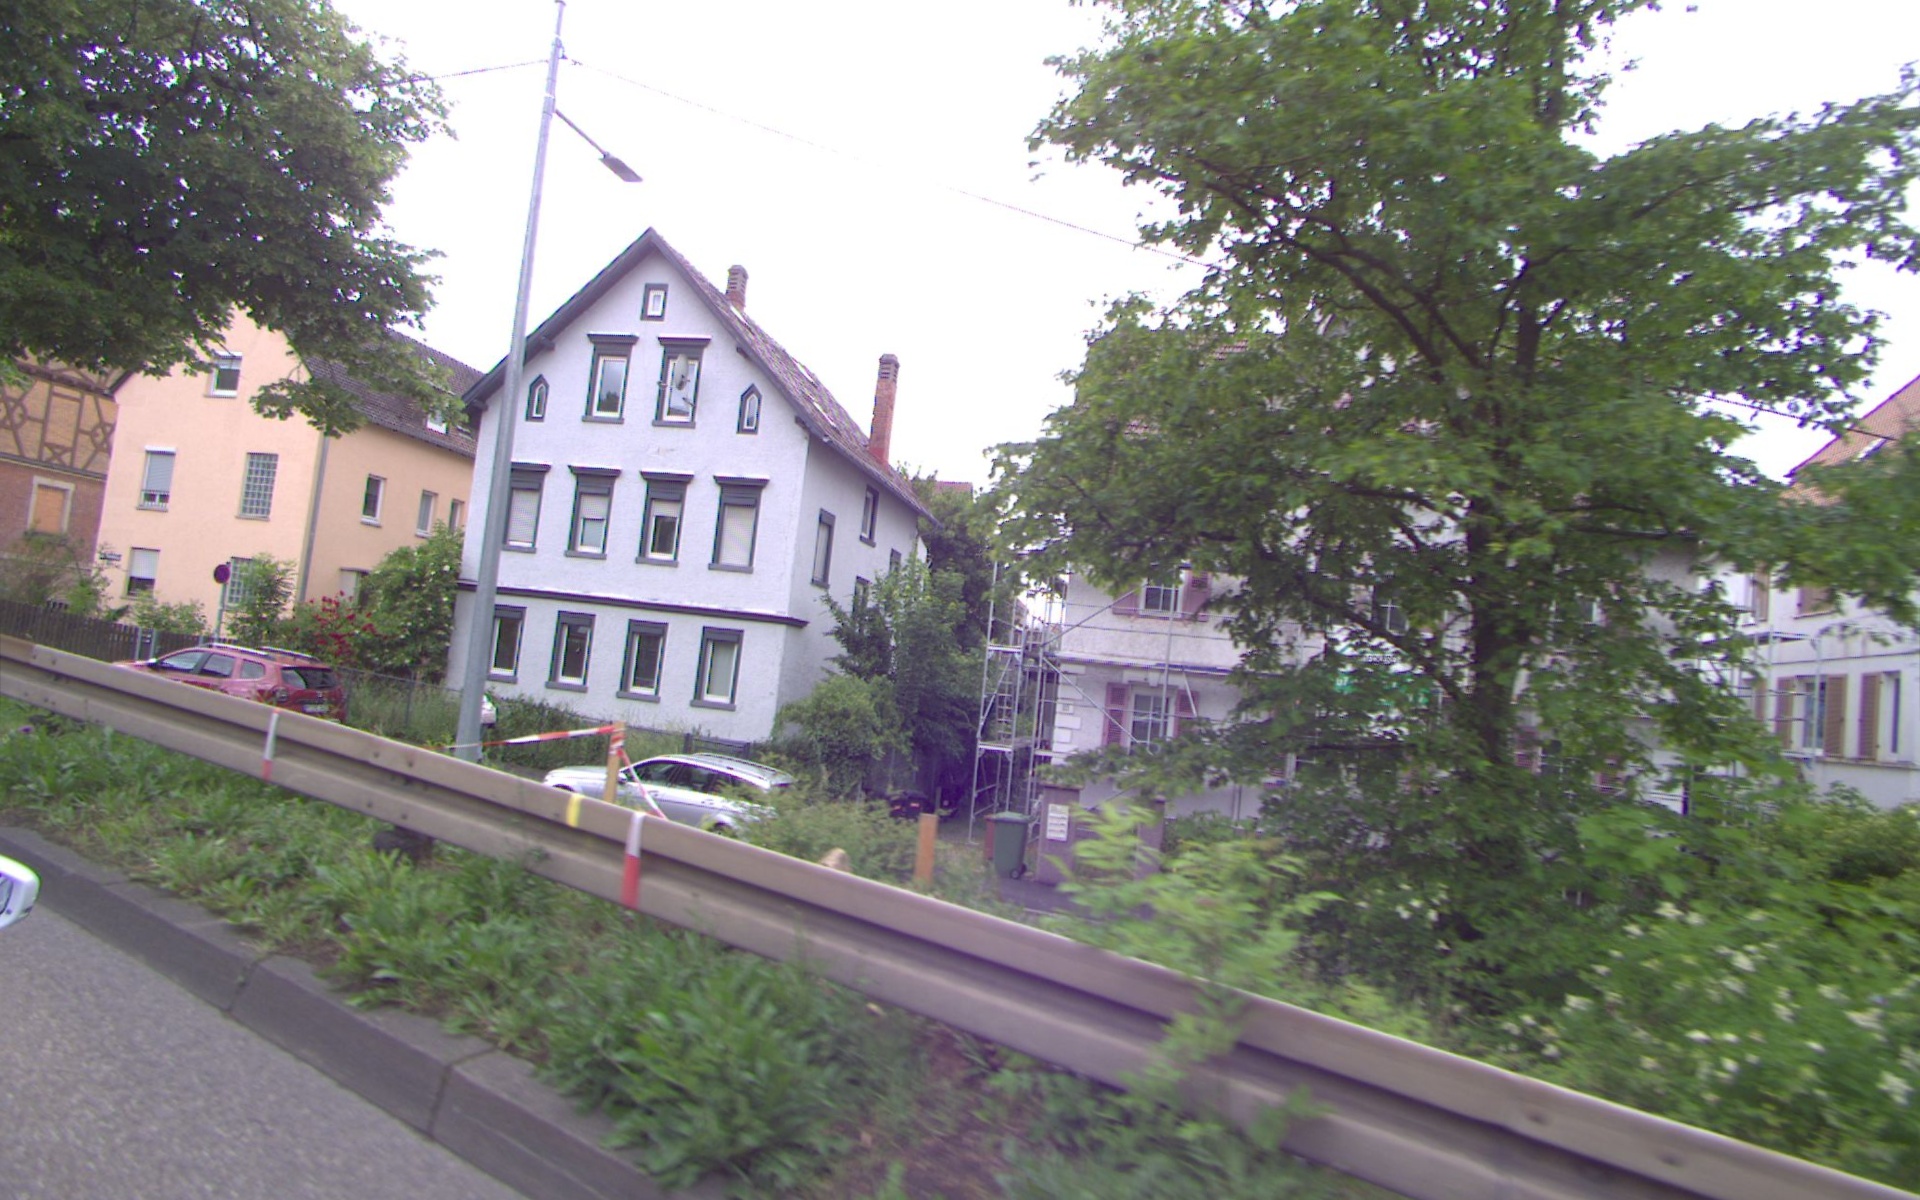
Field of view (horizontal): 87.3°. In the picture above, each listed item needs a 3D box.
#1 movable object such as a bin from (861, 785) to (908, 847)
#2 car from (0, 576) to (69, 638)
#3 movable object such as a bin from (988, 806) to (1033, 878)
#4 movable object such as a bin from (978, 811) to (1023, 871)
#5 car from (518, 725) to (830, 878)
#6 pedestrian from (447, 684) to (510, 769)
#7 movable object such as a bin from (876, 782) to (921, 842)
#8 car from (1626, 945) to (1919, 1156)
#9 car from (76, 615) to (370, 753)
[{"bbox_3d":[-1.396,3.980,18.600,0.569,0.981,0.538,7,-1,20],"label":"movable object such as a bin"},{"bbox_3d":[-29.151,-0.020,29.450,1.962,1.588,4.013,9,-6,14],"label":"car"},{"bbox_3d":[0.892,4.238,17.678,0.528,1.091,0.581,7,-1,20],"label":"movable object such as a bin"},{"bbox_3d":[0.745,4.385,18.352,0.569,0.893,0.538,7,-1,20],"label":"movable object such as a bin"},{"bbox_3d":[-4.478,3.094,15.933,4.348,1.456,1.628,9,-4,13],"label":"car"},{"bbox_3d":[-9.040,2.371,18.904,0.578,1.496,0.621,8,-3,15],"label":"pedestrian"},{"bbox_3d":[-1.174,4.044,19.212,0.569,0.981,0.538,7,-1,20],"label":"movable object such as a bin"},{"bbox_3d":[10.654,5.501,12.079,3.980,1.463,1.628,9,-4,13],"label":"car"},{"bbox_3d":[-13.234,1.508,18.162,4.123,1.687,1.792,9,-4,12],"label":"car"}]
